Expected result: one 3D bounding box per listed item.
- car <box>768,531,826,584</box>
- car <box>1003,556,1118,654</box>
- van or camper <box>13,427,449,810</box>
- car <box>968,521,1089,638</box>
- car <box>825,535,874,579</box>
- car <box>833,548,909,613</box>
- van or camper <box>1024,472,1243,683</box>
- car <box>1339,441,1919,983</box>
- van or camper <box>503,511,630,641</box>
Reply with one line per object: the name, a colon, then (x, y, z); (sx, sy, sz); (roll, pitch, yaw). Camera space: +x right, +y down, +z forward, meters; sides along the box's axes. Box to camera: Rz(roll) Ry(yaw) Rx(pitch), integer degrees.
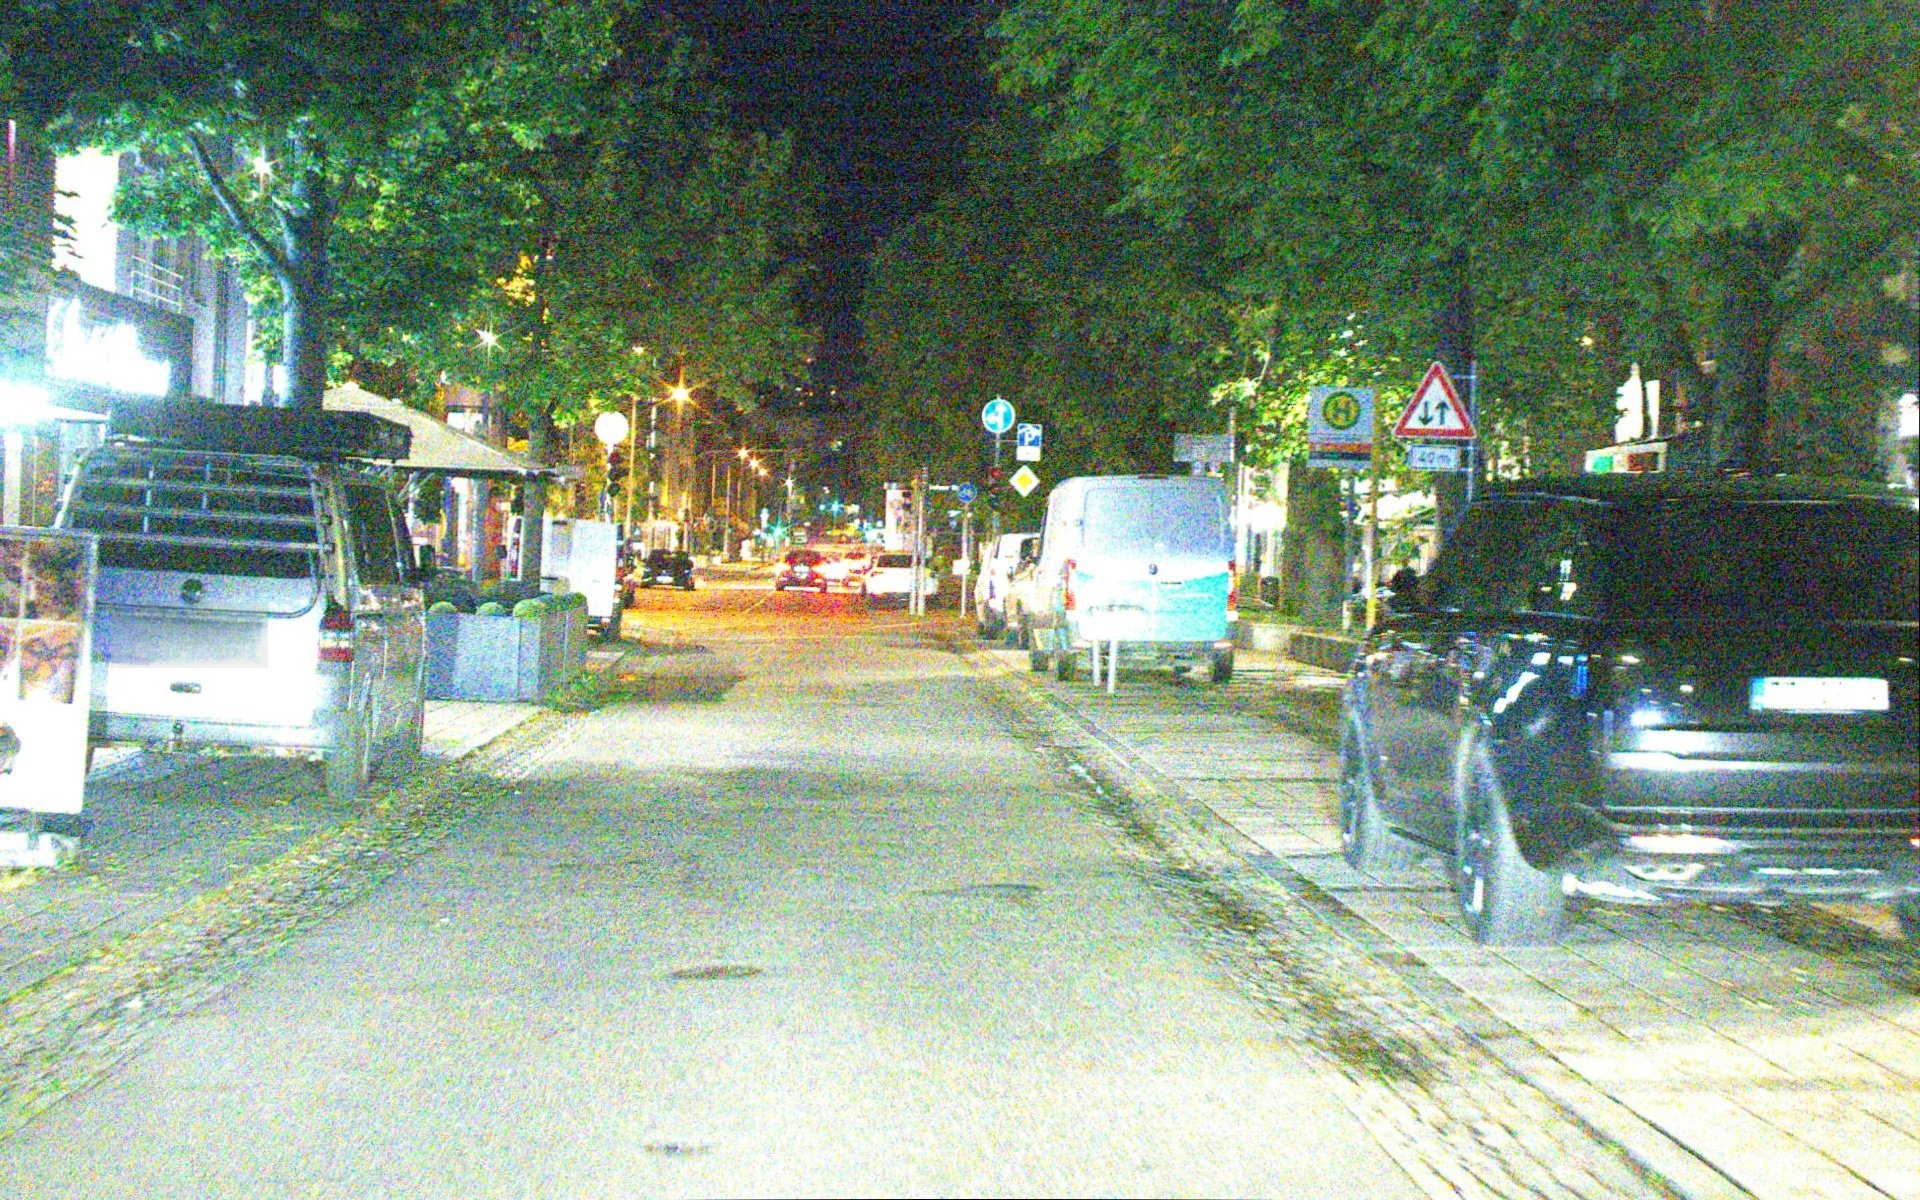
car: (-5.867, -1.515, 123.381); (1.993, 1.817, 4.001); (2, 1, -3)
car: (1.518, 0.053, 52.918); (1.531, 1.413, 3.846); (2, 1, -1)
van or camper: (-4.329, 0.076, 21.066); (1.866, 2.004, 4.263); (3, 1, -3)
car: (1.132, -0.362, 58.666); (1.839, 1.894, 3.846); (2, 1, -1)
car: (-4.756, -1.831, 147.298); (1.993, 1.817, 4.001); (2, 1, -3)
car: (-2.234, -0.507, 86.457); (1.839, 1.537, 3.846); (2, 1, -1)
van or camper: (1.952, -0.278, 39.992); (2.108, 2.309, 4.263); (0, 1, -3)
car: (2.785, 0.364, 13.915); (1.815, 1.822, 4.347); (1, 1, -2)
van or camper: (-6.354, -0.404, 55.772); (1.935, 1.982, 3.846); (2, 1, -6)
